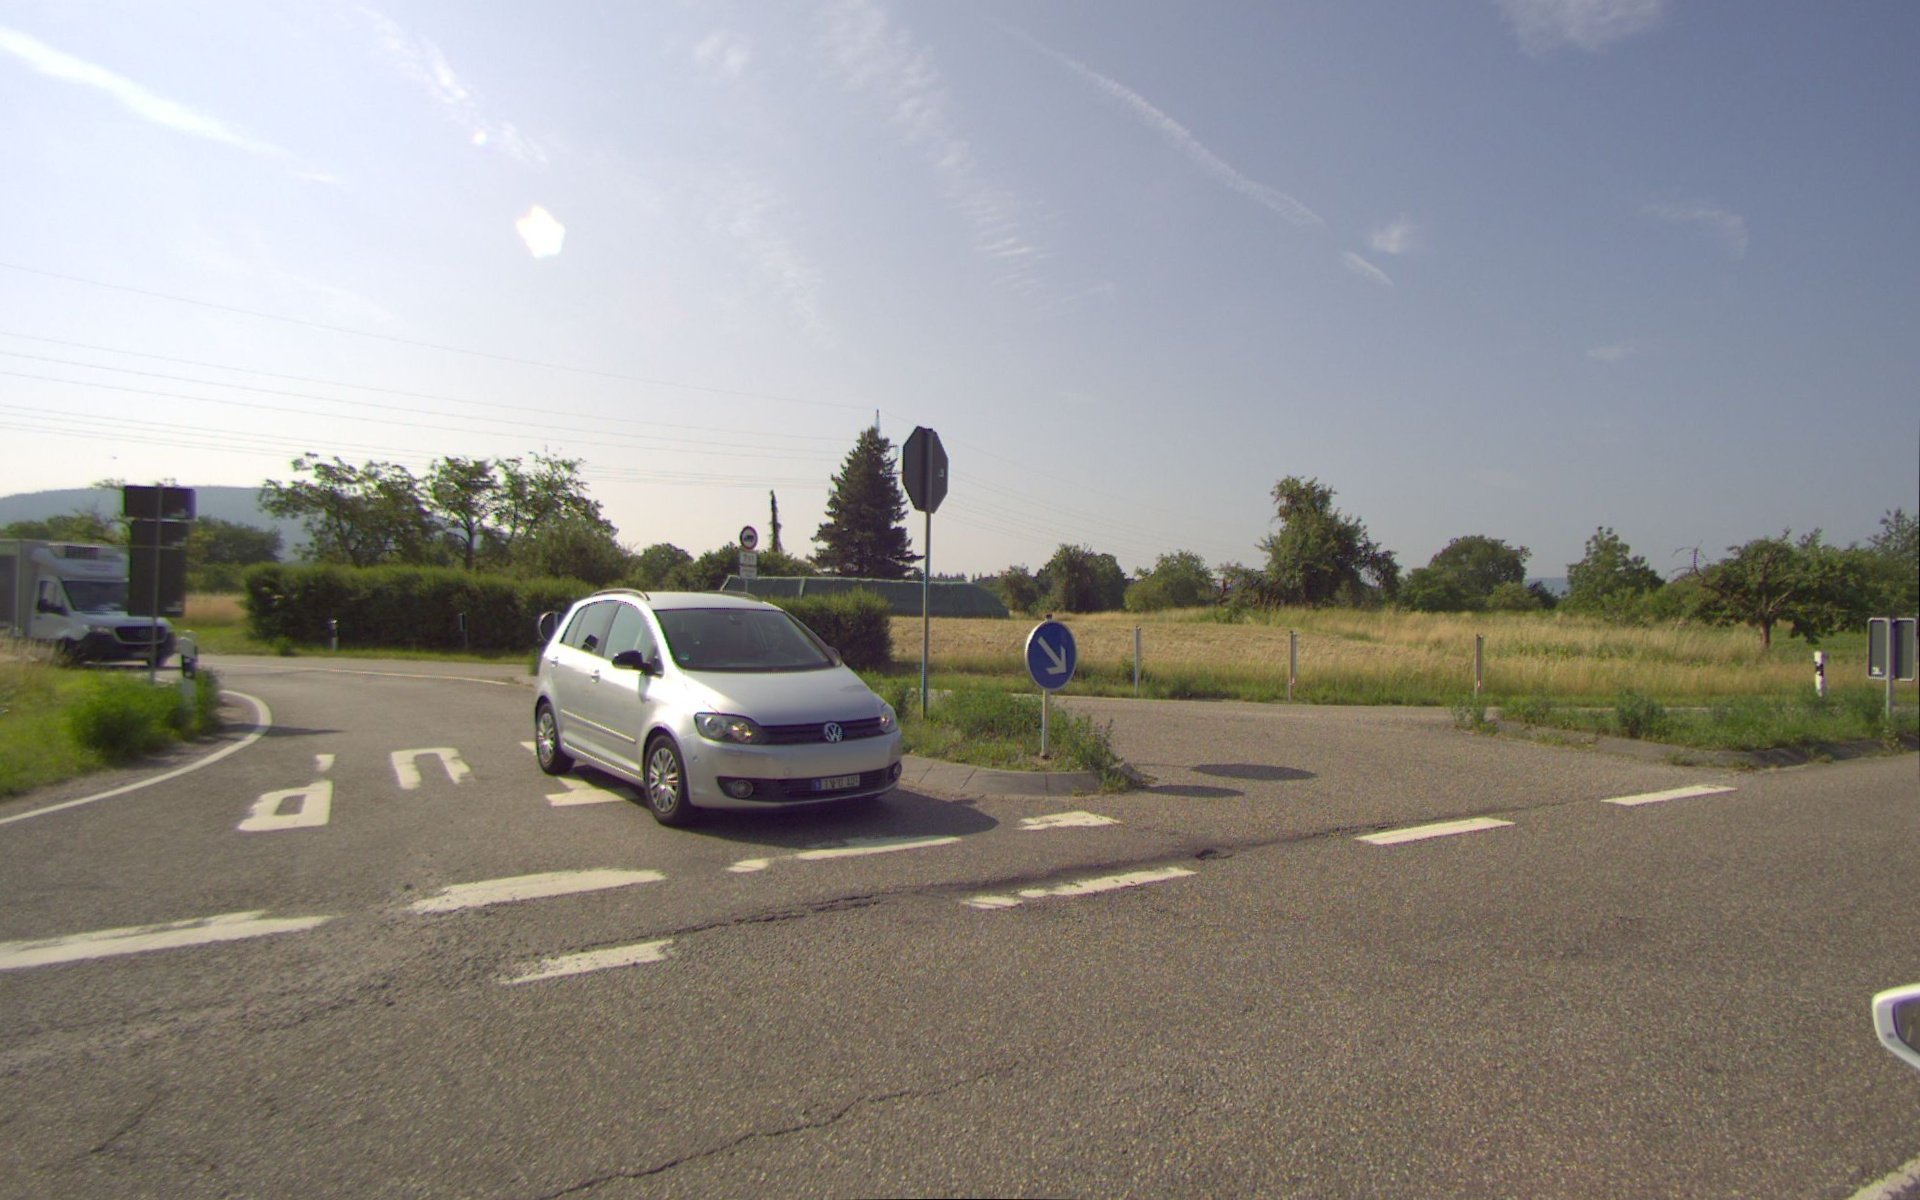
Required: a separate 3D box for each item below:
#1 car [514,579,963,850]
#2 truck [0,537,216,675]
[{"bbox_3d":[-1.965,0.708,8.077,1.984,1.601,3.863,1,-1,-40],"label":"car"},{"bbox_3d":[-22.278,0.076,24.818,7.219,3.086,2.584,1,0,19],"label":"truck"}]
